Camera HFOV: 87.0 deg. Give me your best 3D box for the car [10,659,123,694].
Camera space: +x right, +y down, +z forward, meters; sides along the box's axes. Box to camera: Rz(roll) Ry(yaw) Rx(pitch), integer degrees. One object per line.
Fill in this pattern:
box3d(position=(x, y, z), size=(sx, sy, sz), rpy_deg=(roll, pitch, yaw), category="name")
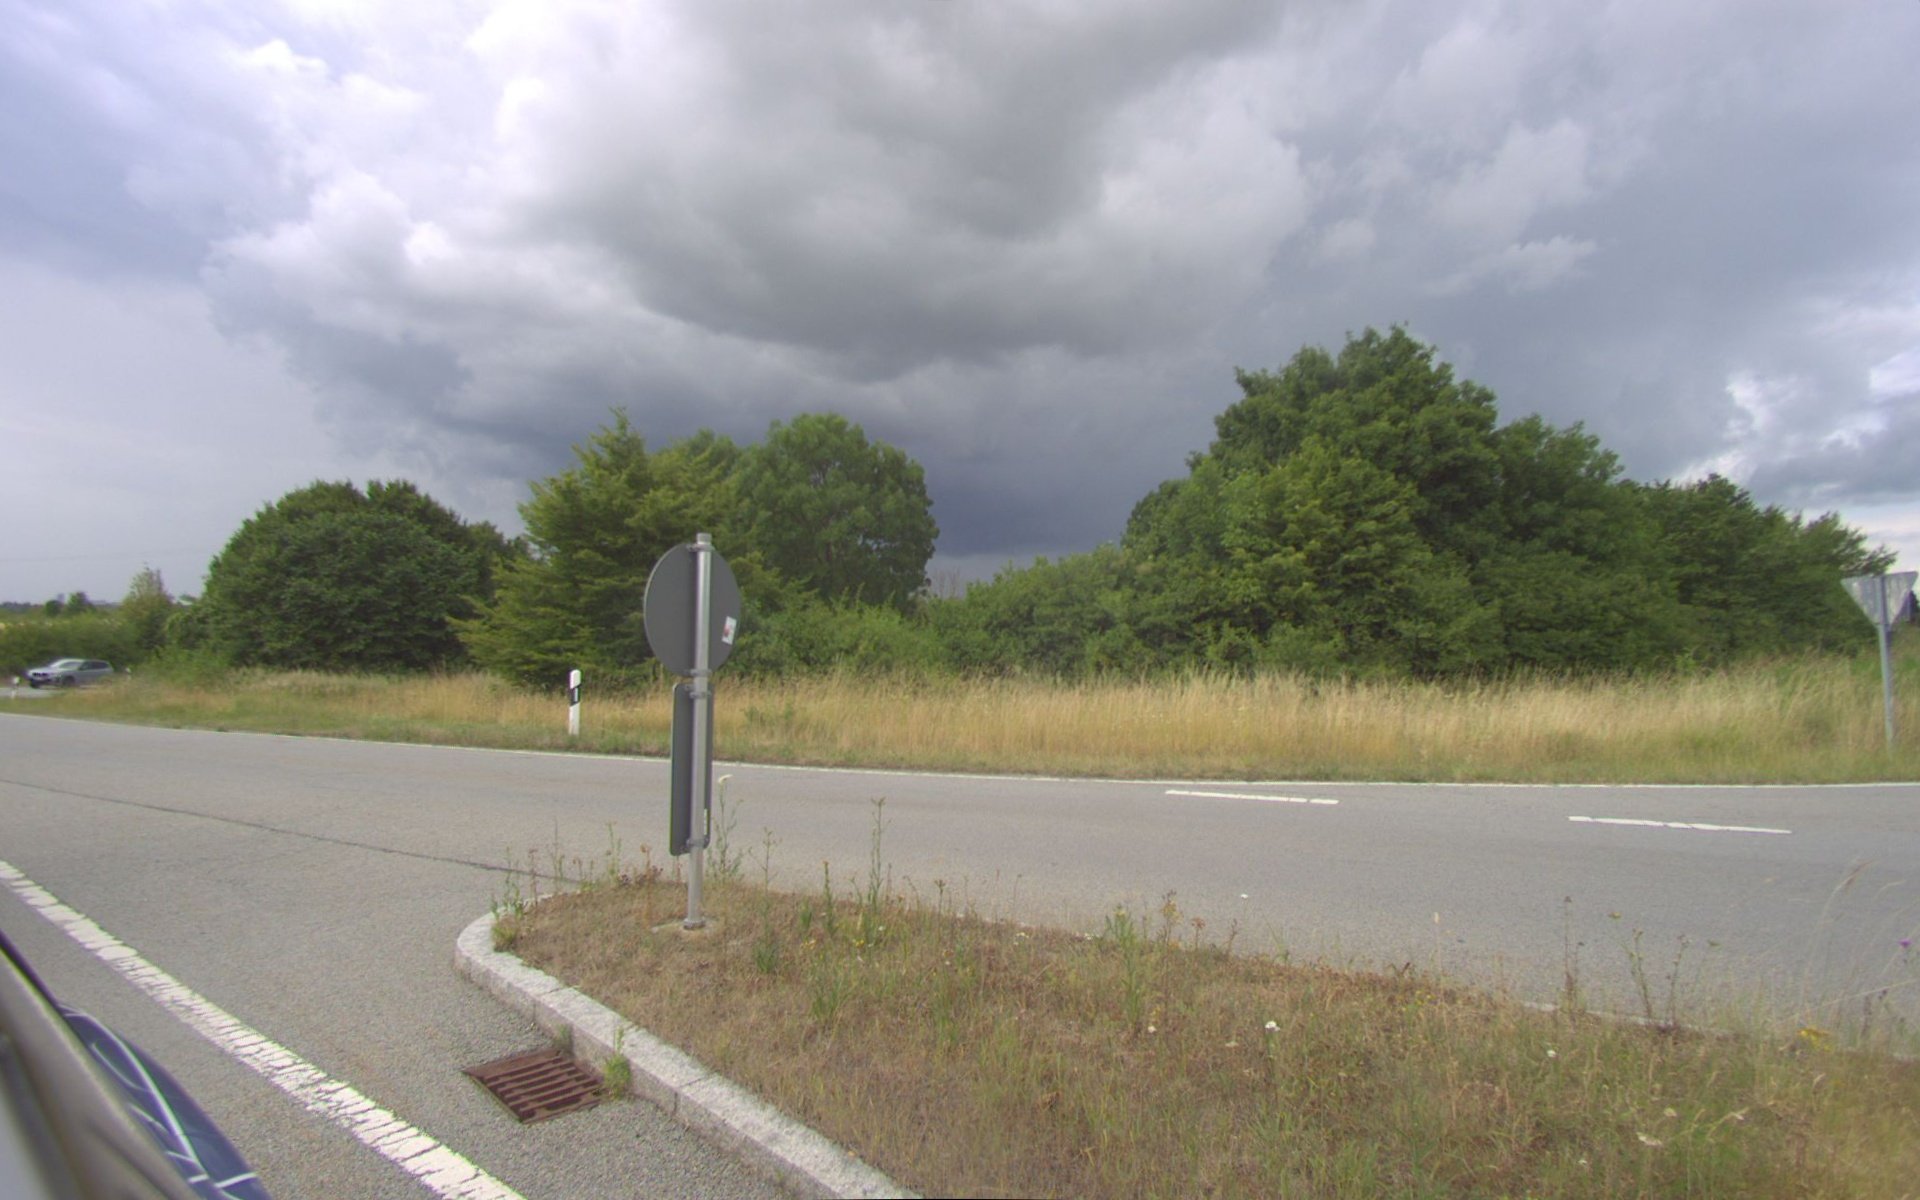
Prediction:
box3d(position=(-50.204, 4.279, 57.027), size=(1.970, 1.733, 5.214), rpy_deg=(3, -3, -5), category="car")
